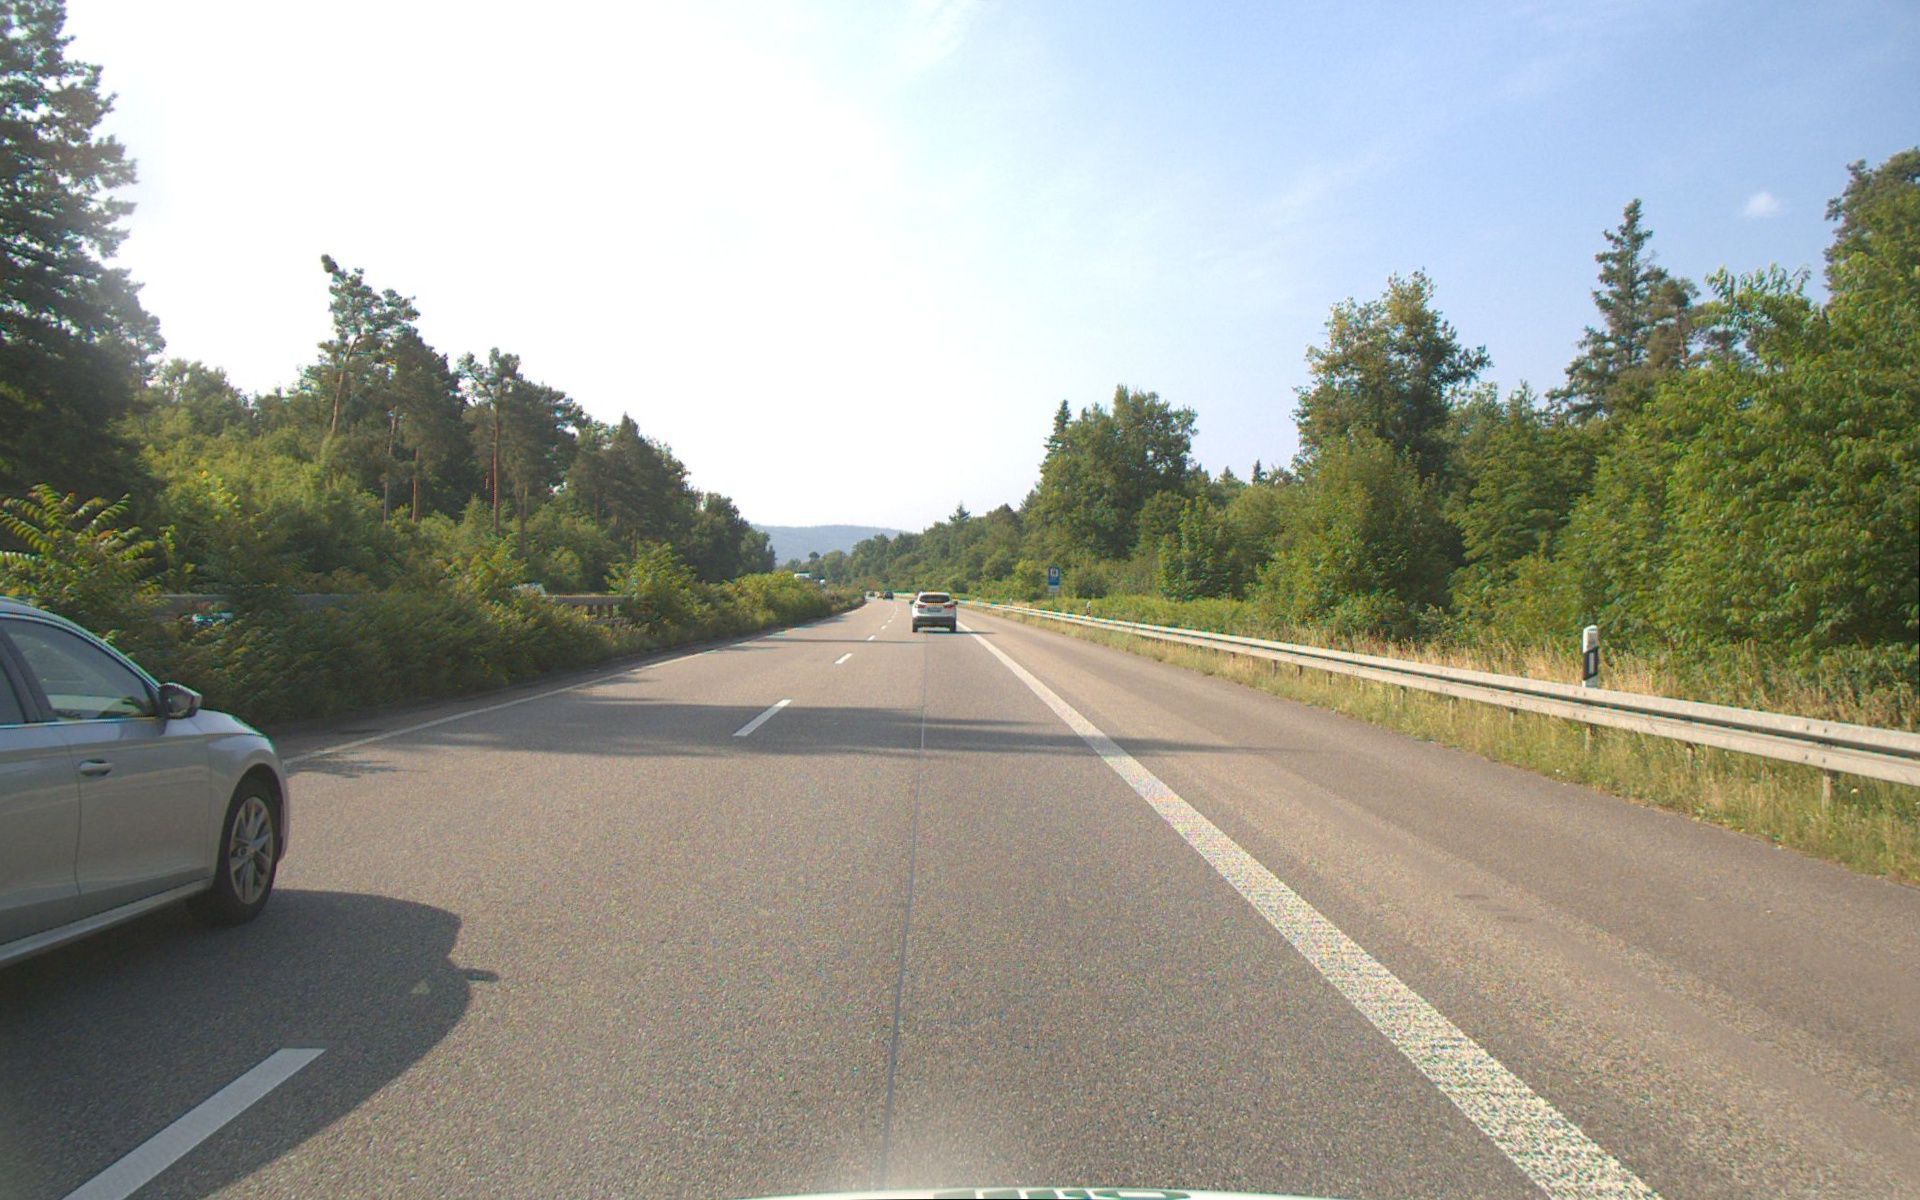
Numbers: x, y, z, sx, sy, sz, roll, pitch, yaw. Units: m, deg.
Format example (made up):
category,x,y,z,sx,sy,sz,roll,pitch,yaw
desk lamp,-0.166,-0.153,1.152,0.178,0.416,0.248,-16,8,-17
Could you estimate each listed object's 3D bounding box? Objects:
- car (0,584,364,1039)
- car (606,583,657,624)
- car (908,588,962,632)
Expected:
category,x,y,z,sx,sy,sz,roll,pitch,yaw
car,-3.976,0.676,6.046,1.756,1.463,5.277,0,0,-1
car,-16.989,0.195,85.714,1.778,2.049,4.493,1,0,-1
car,-1.052,0.366,66.778,1.837,1.614,3.996,2,0,-5
